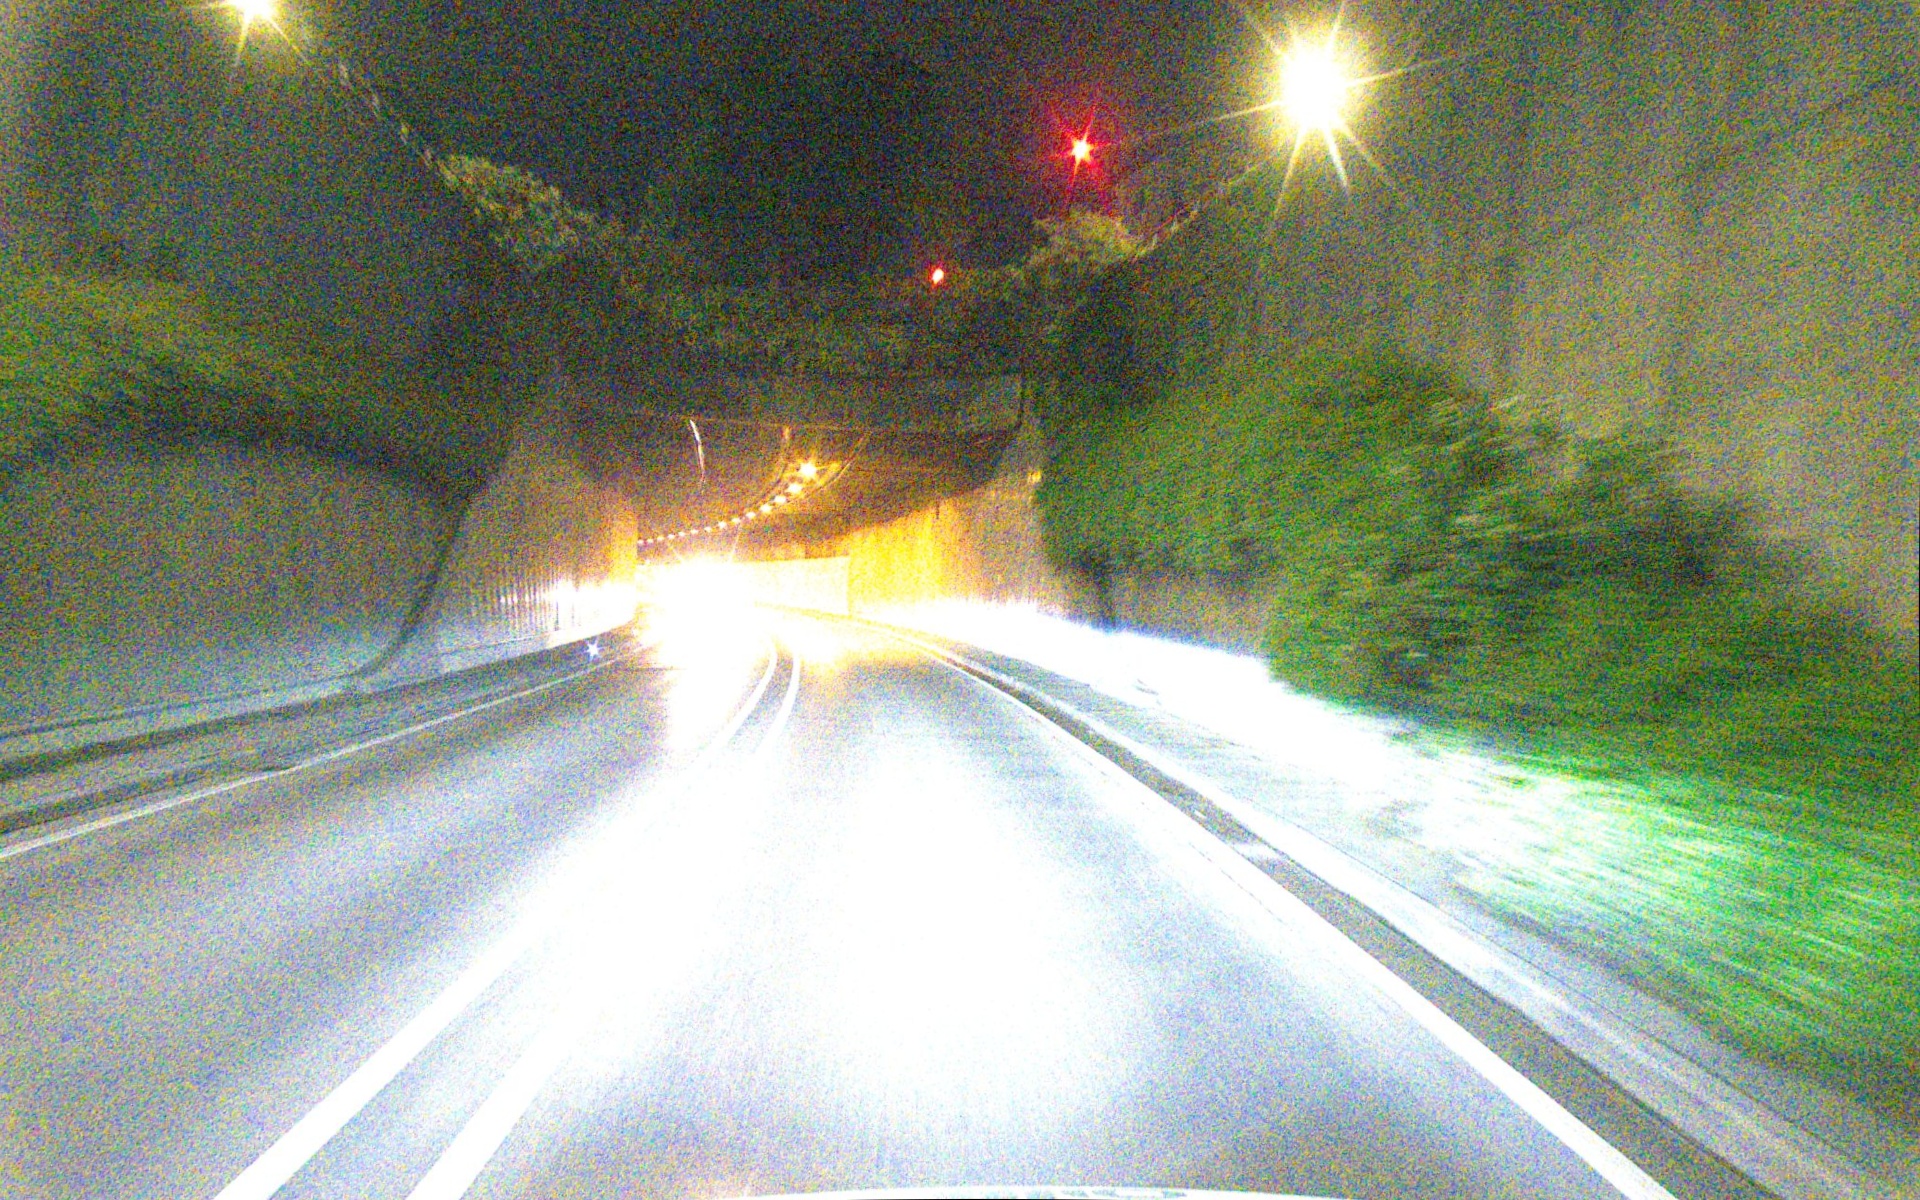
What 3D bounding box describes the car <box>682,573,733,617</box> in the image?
[{"bbox_3d":[-11.753,-0.240,76.694,1.959,1.770,3.988,5,-1,-12],"label":"car"}]
